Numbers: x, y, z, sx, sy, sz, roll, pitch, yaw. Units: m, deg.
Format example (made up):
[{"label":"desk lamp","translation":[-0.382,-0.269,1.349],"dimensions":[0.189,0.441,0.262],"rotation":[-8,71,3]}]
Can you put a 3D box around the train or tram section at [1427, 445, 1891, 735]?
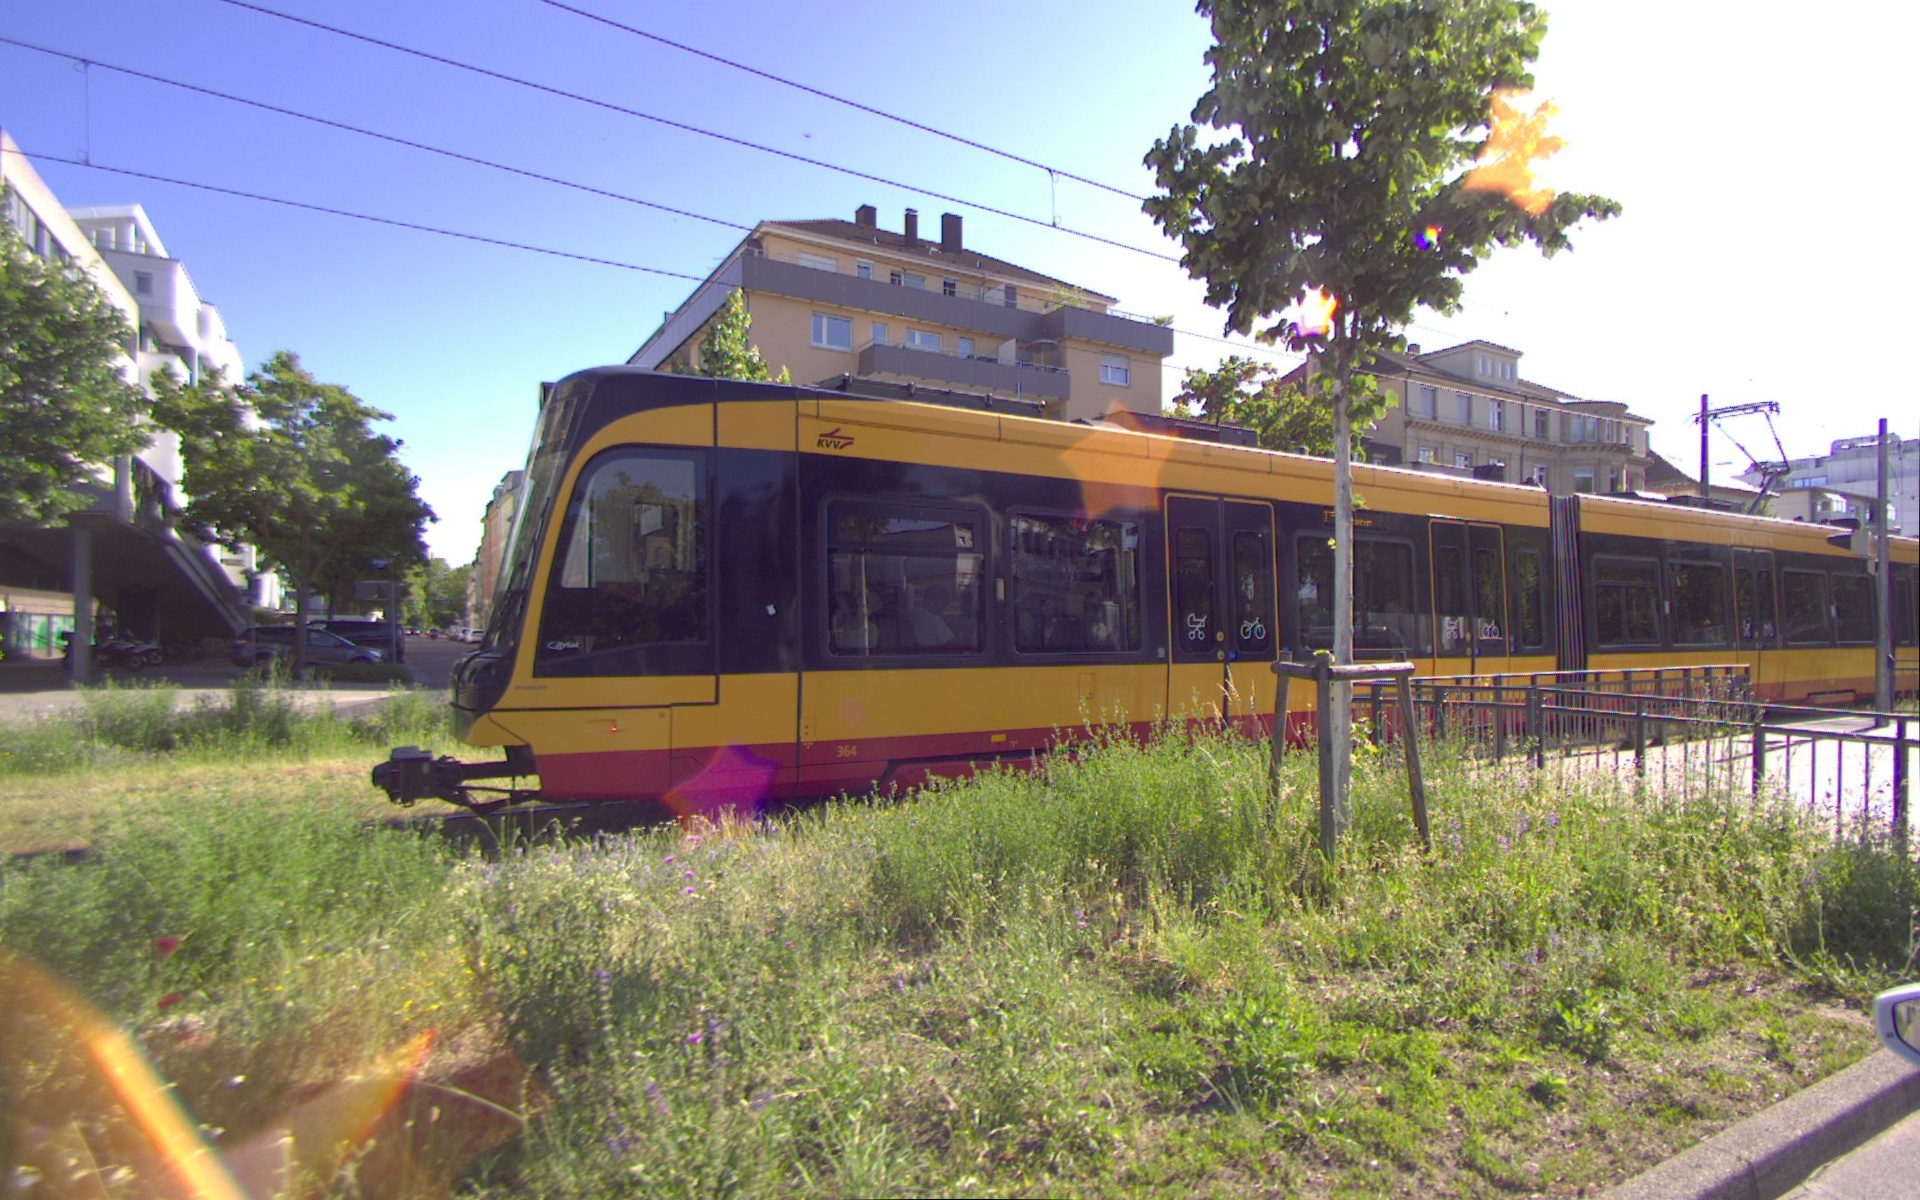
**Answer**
[{"label":"train or tram section","translation":[12.071,-0.028,16.658],"dimensions":[11.187,3.718,1.983],"rotation":[1,-1,-31]}]

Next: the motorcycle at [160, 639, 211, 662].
[{"label":"motorcycle","translation":[-33.597,2.189,43.601],"dimensions":[1.675,0.974,0.393],"rotation":[1,0,-30]}]

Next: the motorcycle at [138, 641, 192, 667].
[{"label":"motorcycle","translation":[-31.392,2.121,39.685],"dimensions":[1.599,0.974,0.367],"rotation":[1,0,-30]}]

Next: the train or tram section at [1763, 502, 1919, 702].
[{"label":"train or tram section","translation":[21.789,0.143,22.538],"dimensions":[11.548,3.718,1.984],"rotation":[1,0,-31]}]

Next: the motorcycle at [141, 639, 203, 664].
[{"label":"motorcycle","translation":[-32.266,2.102,41.148],"dimensions":[1.925,0.974,0.450],"rotation":[1,0,-30]}]

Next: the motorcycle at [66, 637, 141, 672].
[{"label":"motorcycle","translation":[-28.625,1.813,33.604],"dimensions":[1.854,1.120,0.443],"rotation":[1,0,-30]}]

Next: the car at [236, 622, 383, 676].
[{"label":"car","translation":[-21.471,1.595,33.373],"dimensions":[3.953,1.662,1.984],"rotation":[1,-1,-30]}]

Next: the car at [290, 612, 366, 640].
[{"label":"car","translation":[-39.438,1.642,62.738],"dimensions":[3.958,1.662,1.981],"rotation":[1,-1,-34]}]

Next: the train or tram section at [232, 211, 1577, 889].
[{"label":"train or tram section","translation":[1.468,-0.146,10.061],"dimensions":[13.993,3.718,1.983],"rotation":[1,-1,-32]}]

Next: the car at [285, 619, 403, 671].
[{"label":"car","translation":[-24.865,1.783,40.619],"dimensions":[3.958,1.996,1.981],"rotation":[1,-1,-34]}]
